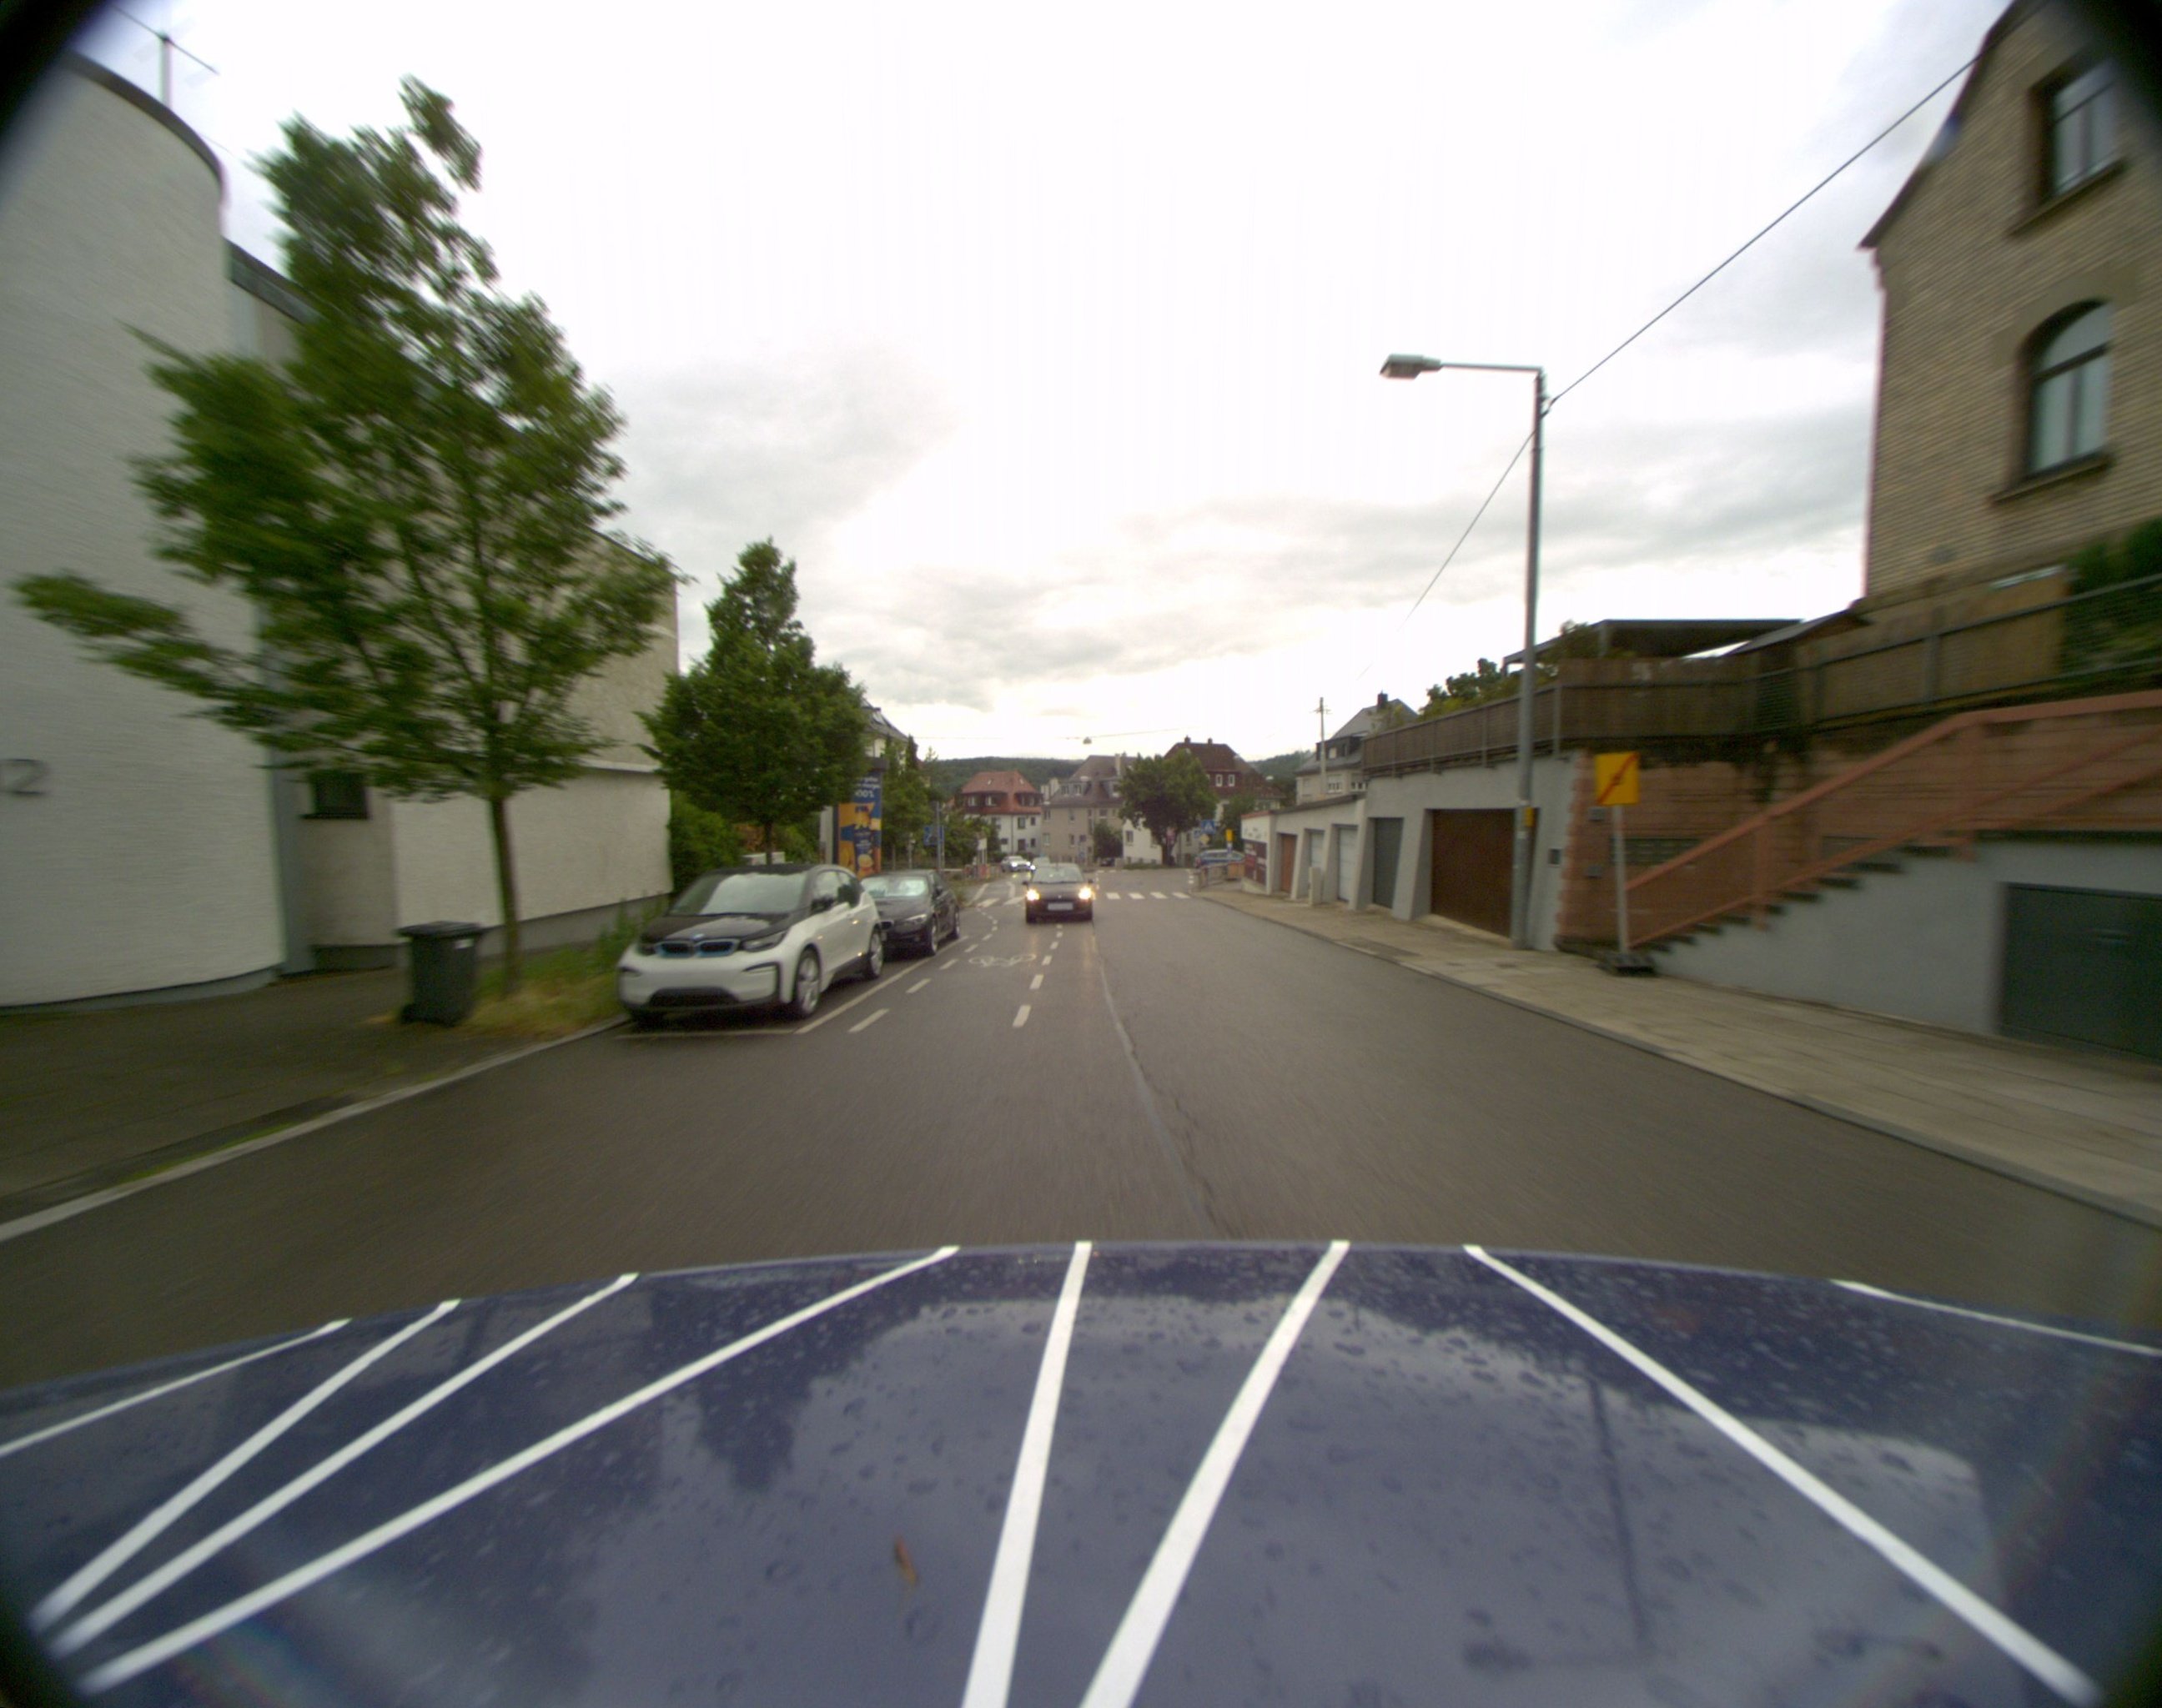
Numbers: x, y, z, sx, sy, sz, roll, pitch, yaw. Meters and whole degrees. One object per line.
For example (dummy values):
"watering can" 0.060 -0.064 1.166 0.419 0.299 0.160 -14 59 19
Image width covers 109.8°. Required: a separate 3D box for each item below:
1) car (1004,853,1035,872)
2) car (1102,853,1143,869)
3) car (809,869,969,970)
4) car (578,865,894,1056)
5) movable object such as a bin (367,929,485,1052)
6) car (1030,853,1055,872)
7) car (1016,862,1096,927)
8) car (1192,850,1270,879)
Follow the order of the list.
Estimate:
"car" -6.381 0.893 78.655 2.019 1.892 4.087 -1 0 -21
"car" 4.668 0.773 86.395 4.226 1.663 1.875 -1 0 -21
"car" -3.299 1.057 14.077 1.783 1.430 4.881 -2 0 -1
"car" -3.598 0.987 8.865 1.733 1.598 4.119 -3 0 0
"movable object such as a bin" -5.883 1.205 6.847 0.486 0.969 0.605 3 1 8
"car" -3.229 0.702 64.161 1.857 1.575 4.000 -1 0 1
"car" -0.563 0.994 20.308 1.892 1.521 4.057 -1 0 1
"car" 9.506 0.640 48.394 4.484 1.479 1.998 -2 4 -1
